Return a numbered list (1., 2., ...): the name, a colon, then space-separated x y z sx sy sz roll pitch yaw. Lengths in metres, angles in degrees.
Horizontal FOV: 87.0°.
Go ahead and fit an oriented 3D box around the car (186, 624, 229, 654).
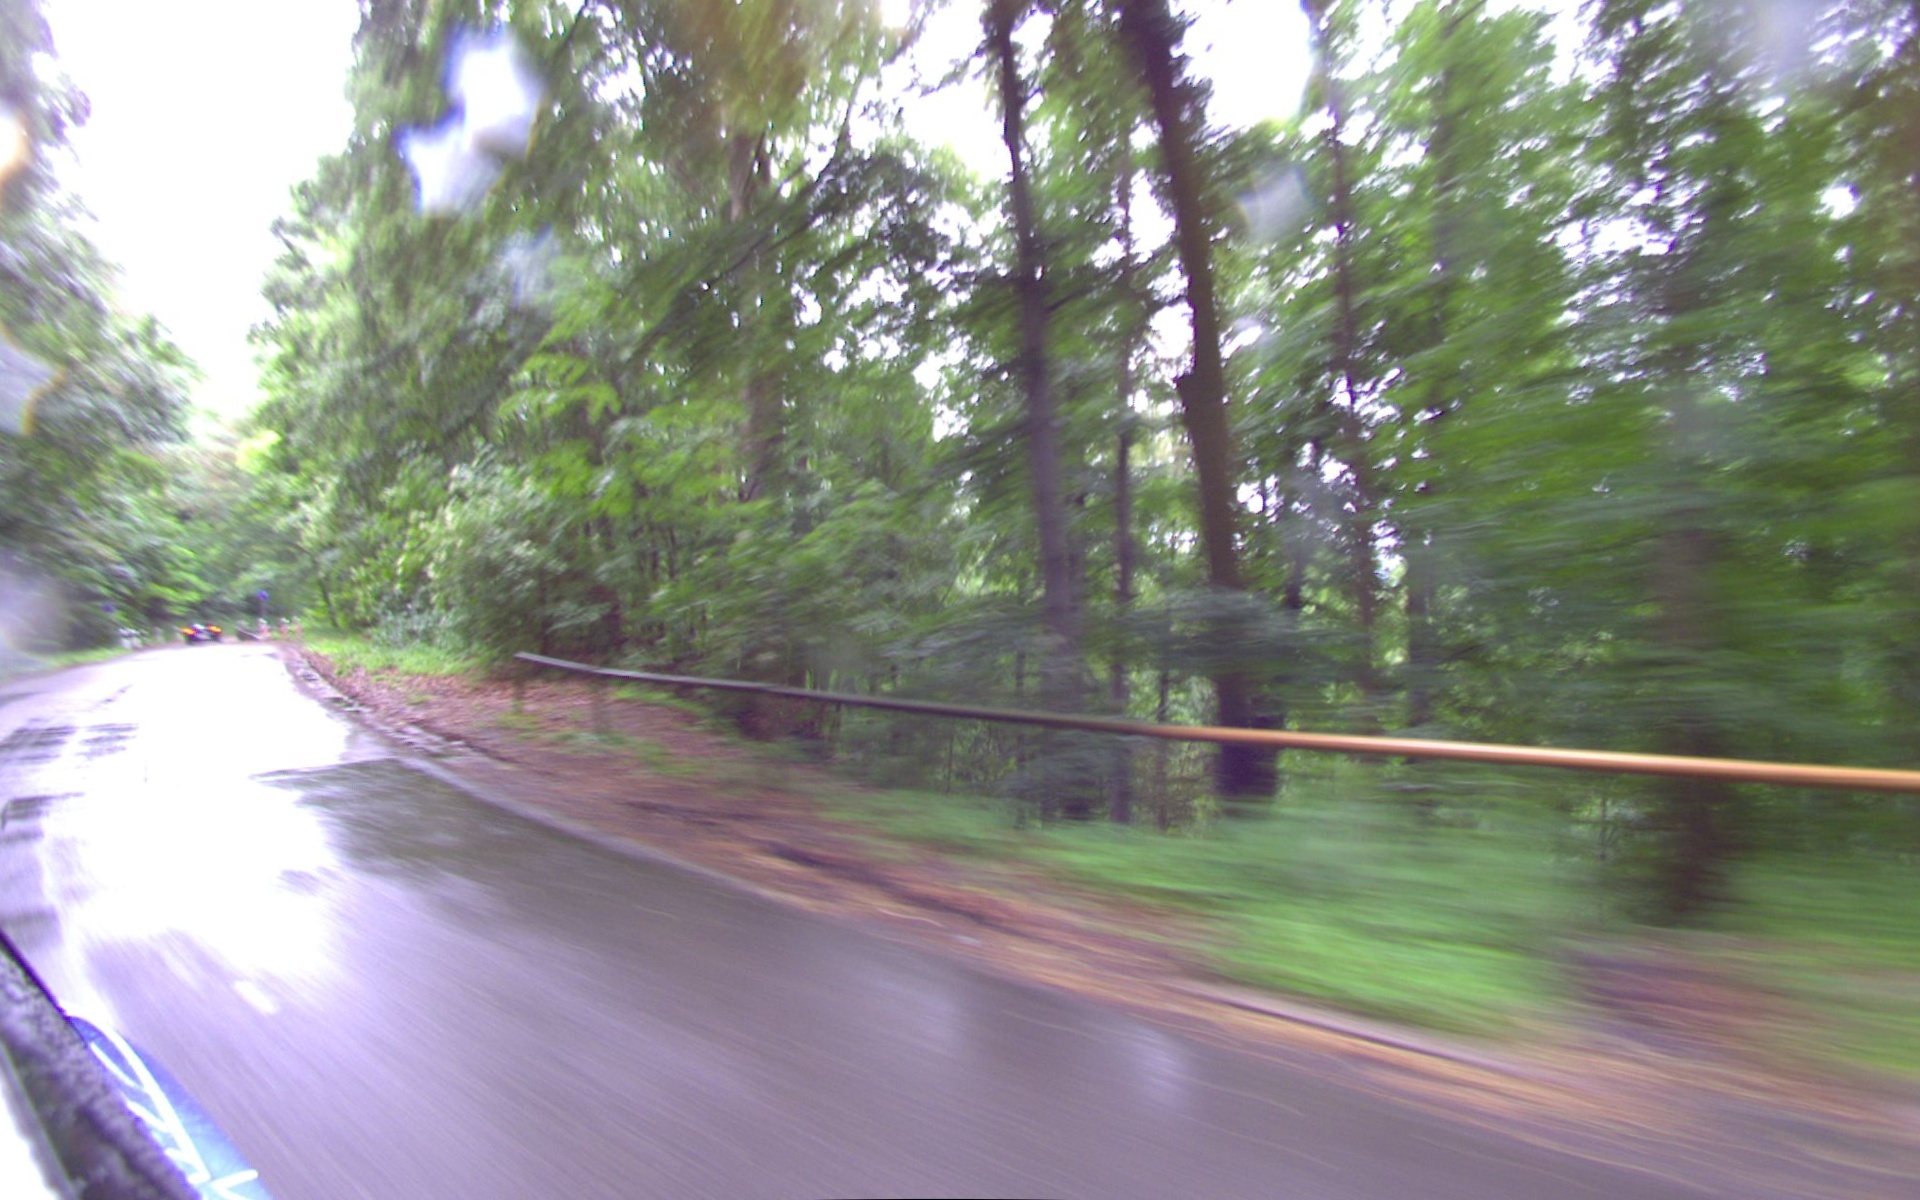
1. car: -47.615 2.453 64.112 1.967 1.763 4.010 -2 0 -34
